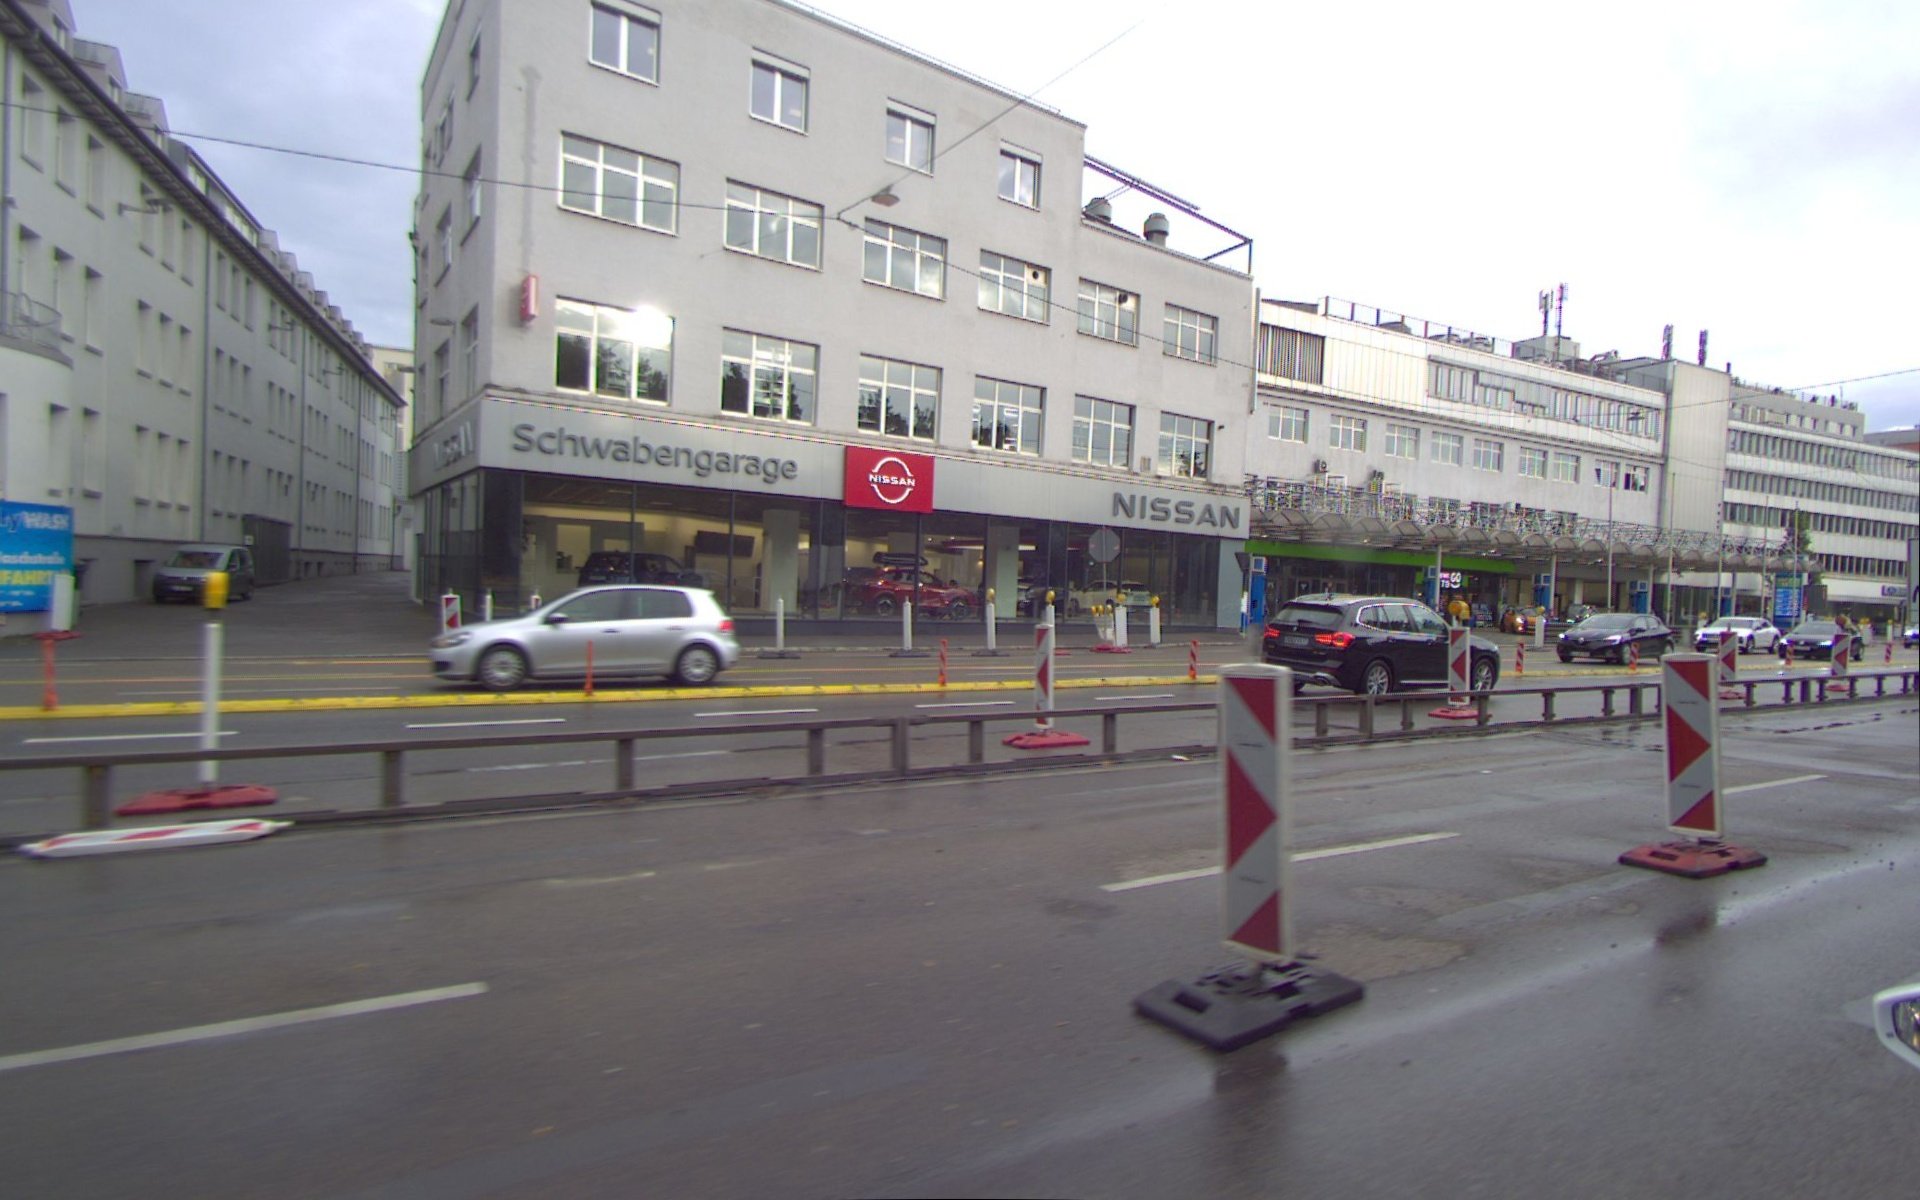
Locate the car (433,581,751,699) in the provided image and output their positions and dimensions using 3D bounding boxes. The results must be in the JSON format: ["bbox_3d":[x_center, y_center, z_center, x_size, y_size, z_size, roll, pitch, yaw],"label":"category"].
[{"bbox_3d":[-5.212,0.548,14.367,4.065,1.484,1.695,1,-1,-27],"label":"car"}]

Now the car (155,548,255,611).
[{"bbox_3d":[-24.241,-0.633,32.404,1.765,1.855,3.939,1,0,-25],"label":"car"}]

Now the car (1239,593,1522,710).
[{"bbox_3d":[7.123,0.780,16.916,4.614,1.619,1.938,0,4,-30],"label":"car"}]

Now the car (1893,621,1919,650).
[{"bbox_3d":[55.795,2.056,58.084,4.220,1.606,1.737,2,0,-34],"label":"car"}]

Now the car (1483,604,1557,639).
[{"bbox_3d":[30.345,1.144,54.595,1.927,1.794,4.448,1,0,6],"label":"car"}]

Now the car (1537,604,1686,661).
[{"bbox_3d":[18.907,0.944,29.105,4.468,1.528,1.775,2,0,-30],"label":"car"}]

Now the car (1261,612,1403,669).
[{"bbox_3d":[10.304,1.107,27.814,3.665,1.433,1.725,2,1,-30],"label":"car"}]

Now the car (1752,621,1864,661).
[{"bbox_3d":[31.815,1.513,37.647,4.758,1.369,1.788,2,0,-31],"label":"car"}]

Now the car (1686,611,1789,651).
[{"bbox_3d":[32.135,1.283,41.496,4.468,1.528,1.775,2,0,-30],"label":"car"}]
